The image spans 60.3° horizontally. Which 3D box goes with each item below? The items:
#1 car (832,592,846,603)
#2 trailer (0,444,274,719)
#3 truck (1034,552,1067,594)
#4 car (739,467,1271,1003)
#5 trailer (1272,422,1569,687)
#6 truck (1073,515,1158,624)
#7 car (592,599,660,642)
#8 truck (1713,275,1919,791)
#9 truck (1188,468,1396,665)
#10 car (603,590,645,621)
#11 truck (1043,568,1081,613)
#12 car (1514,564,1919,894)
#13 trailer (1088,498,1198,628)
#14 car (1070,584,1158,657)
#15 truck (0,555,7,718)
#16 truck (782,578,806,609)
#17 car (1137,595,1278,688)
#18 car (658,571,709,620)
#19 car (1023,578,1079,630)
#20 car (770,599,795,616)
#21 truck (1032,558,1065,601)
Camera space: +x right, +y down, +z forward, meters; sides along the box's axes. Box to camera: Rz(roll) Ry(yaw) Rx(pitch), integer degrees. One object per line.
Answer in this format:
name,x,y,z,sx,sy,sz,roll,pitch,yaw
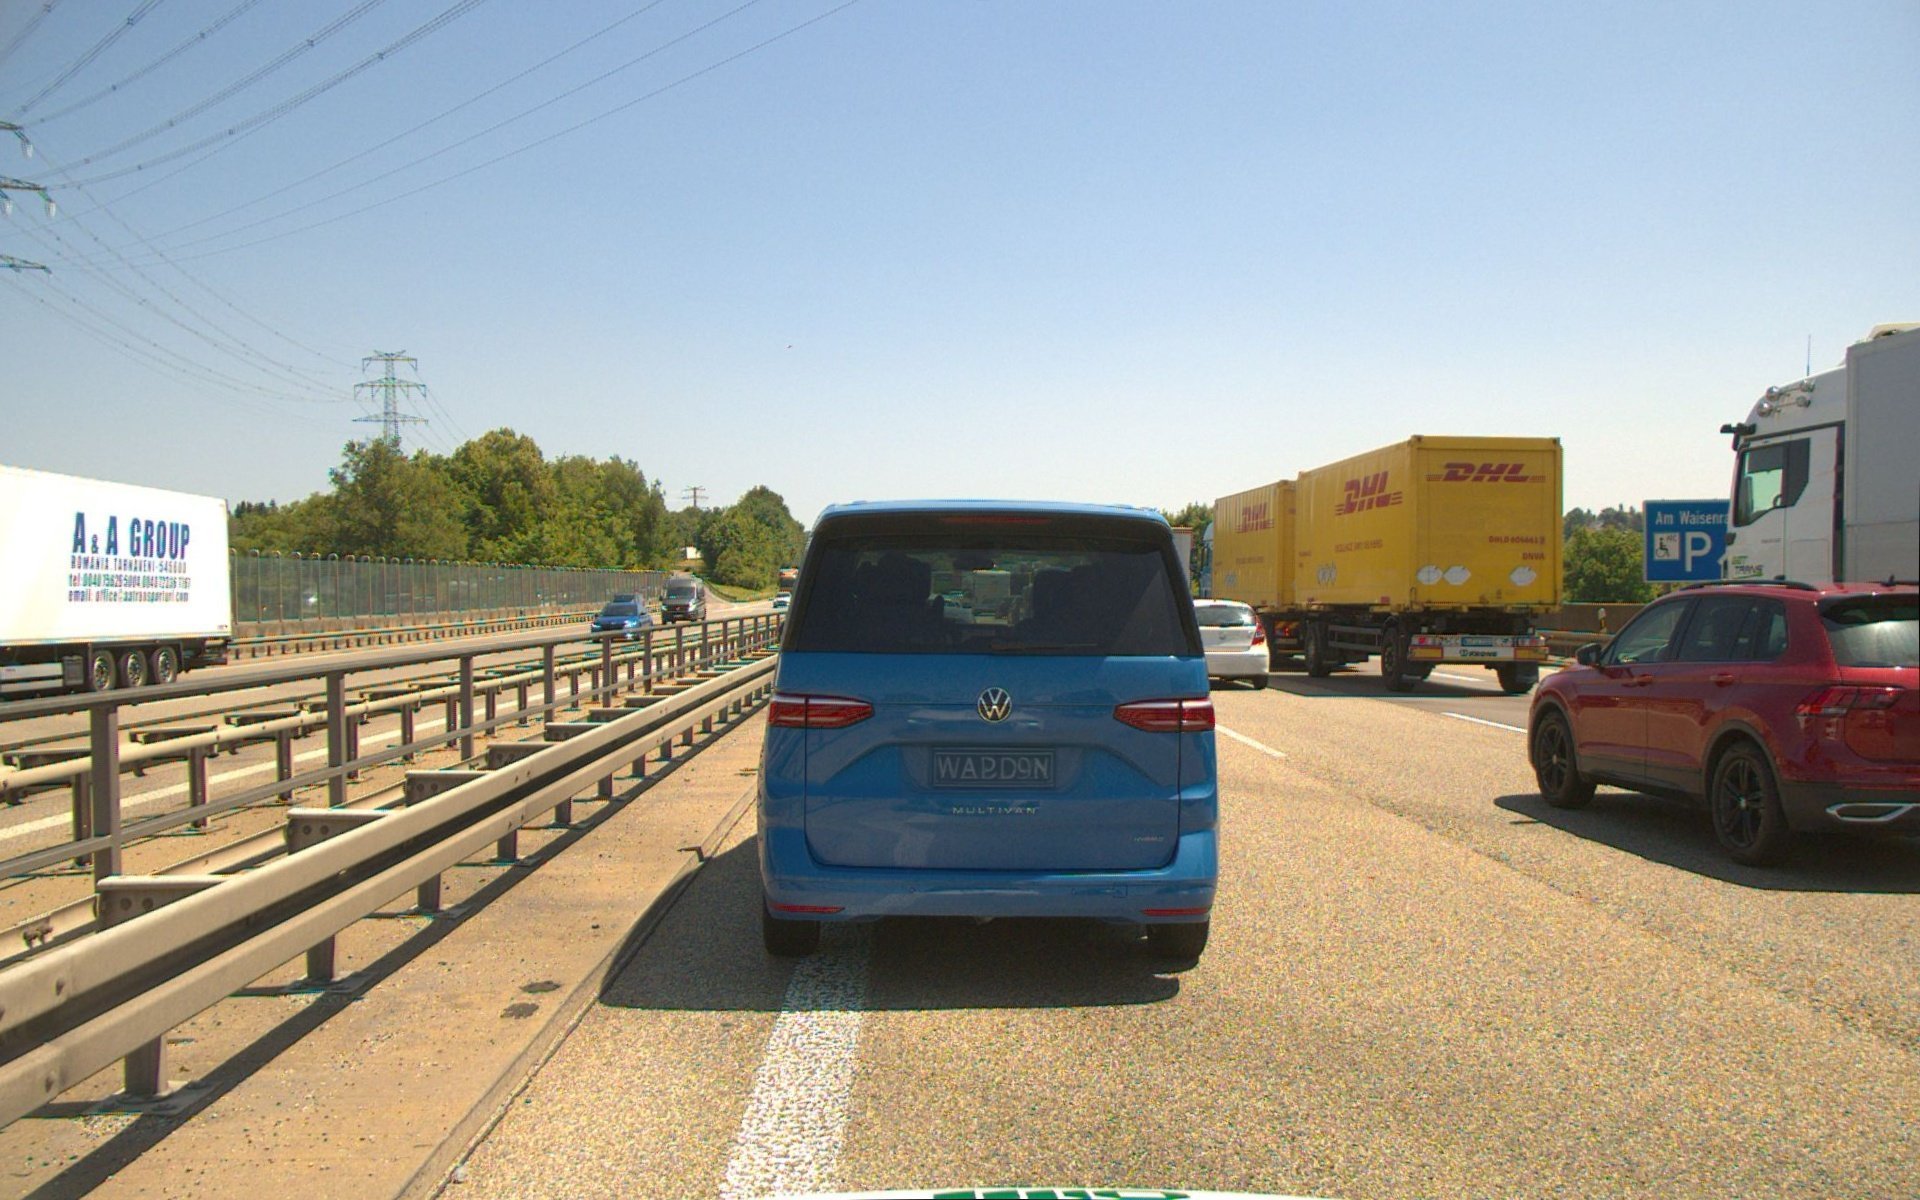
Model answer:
car,-17.731,-0.424,243.052,1.726,1.534,4.223,-1,0,0
trailer,-16.781,-0.237,30.249,2.847,4.382,13.658,-2,0,-1
truck,5.886,-1.718,108.001,1.760,2.641,4.304,1,0,-1
car,0.124,0.501,7.970,1.891,1.906,3.999,1,0,-1
trailer,8.189,-0.698,30.828,2.629,4.159,8.975,1,0,-3
truck,6.991,-1.302,75.472,2.965,4.692,7.919,1,0,-1
car,-12.785,0.759,63.584,1.736,1.517,4.604,-1,0,-1
truck,8.889,-0.513,10.827,2.794,4.003,10.606,1,0,-2
truck,7.776,-0.687,40.234,2.645,4.159,9.935,1,0,-2
car,-22.369,0.386,110.311,1.918,1.939,4.948,-2,0,-3
truck,5.764,-0.503,93.924,1.761,2.492,4.503,1,0,-1
car,5.276,0.676,10.784,1.674,1.708,4.282,0,0,-3
trailer,7.136,-1.333,66.033,2.965,4.692,10.922,1,0,-1
car,3.830,0.506,41.719,1.778,1.708,3.931,1,0,-1
truck,-16.682,-0.256,22.881,2.869,4.368,6.857,-3,0,0
truck,-23.269,-0.902,232.542,2.617,4.258,6.287,-1,0,1
car,4.289,0.692,29.236,1.778,1.496,3.930,1,0,-2
car,-15.787,-0.250,94.758,1.954,2.627,6.647,-2,0,-2
car,3.601,0.157,66.174,1.922,1.970,3.931,1,0,-1
car,-17.040,0.748,159.336,1.953,1.571,4.384,-2,0,-1
truck,5.471,-1.264,102.895,1.706,2.593,4.209,1,0,-1
